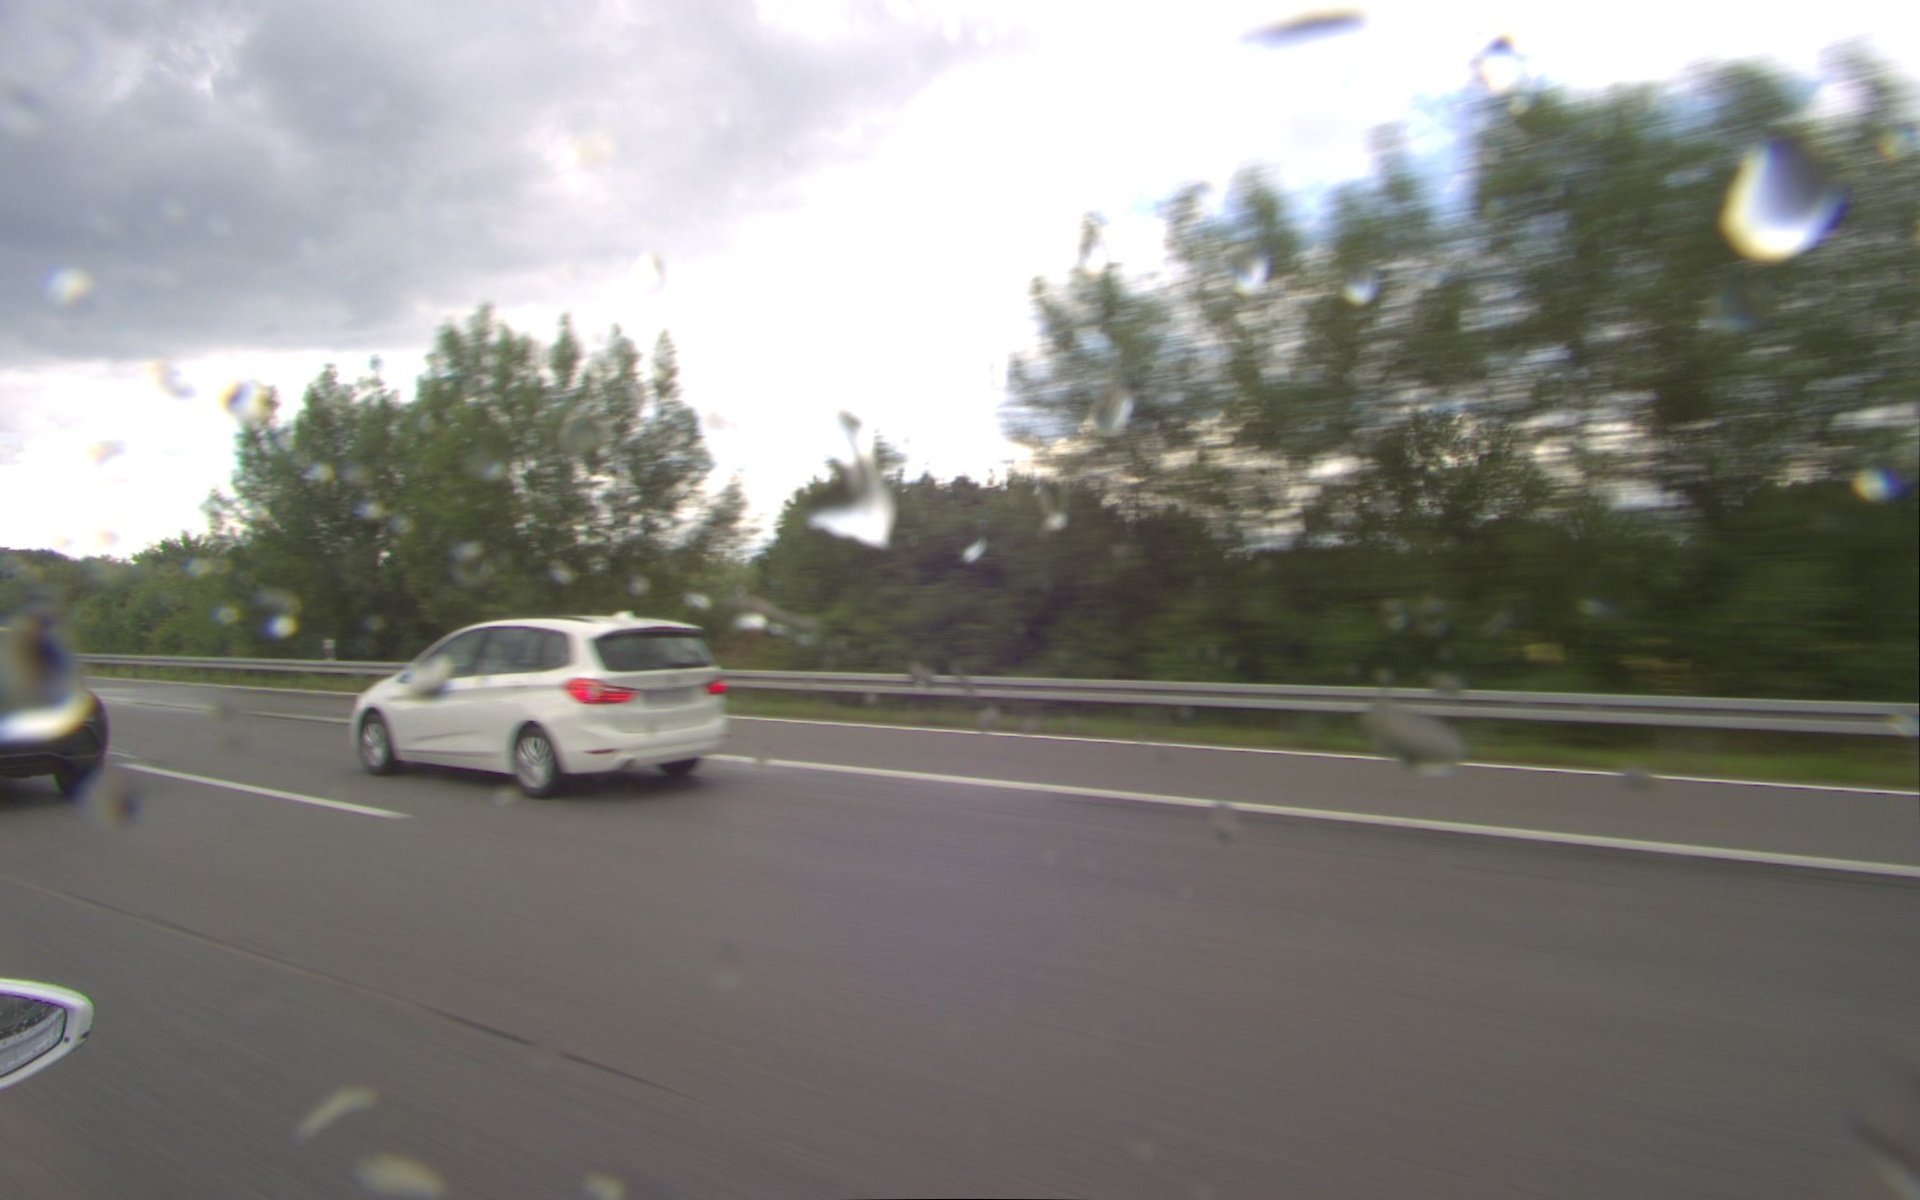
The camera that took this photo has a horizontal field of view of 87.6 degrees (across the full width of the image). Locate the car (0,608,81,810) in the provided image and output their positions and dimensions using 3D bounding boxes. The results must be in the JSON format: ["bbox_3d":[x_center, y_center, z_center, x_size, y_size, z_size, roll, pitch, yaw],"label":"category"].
[{"bbox_3d":[-9.843,0.907,9.004,4.533,1.633,1.777,-1,-1,33],"label":"car"}]

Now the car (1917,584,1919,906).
[{"bbox_3d":[6.226,0.693,3.166,4.398,1.652,1.702,-1,-1,36],"label":"car"}]

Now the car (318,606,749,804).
[{"bbox_3d":[-4.472,0.913,10.252,4.630,1.619,1.807,-1,-1,33],"label":"car"}]
